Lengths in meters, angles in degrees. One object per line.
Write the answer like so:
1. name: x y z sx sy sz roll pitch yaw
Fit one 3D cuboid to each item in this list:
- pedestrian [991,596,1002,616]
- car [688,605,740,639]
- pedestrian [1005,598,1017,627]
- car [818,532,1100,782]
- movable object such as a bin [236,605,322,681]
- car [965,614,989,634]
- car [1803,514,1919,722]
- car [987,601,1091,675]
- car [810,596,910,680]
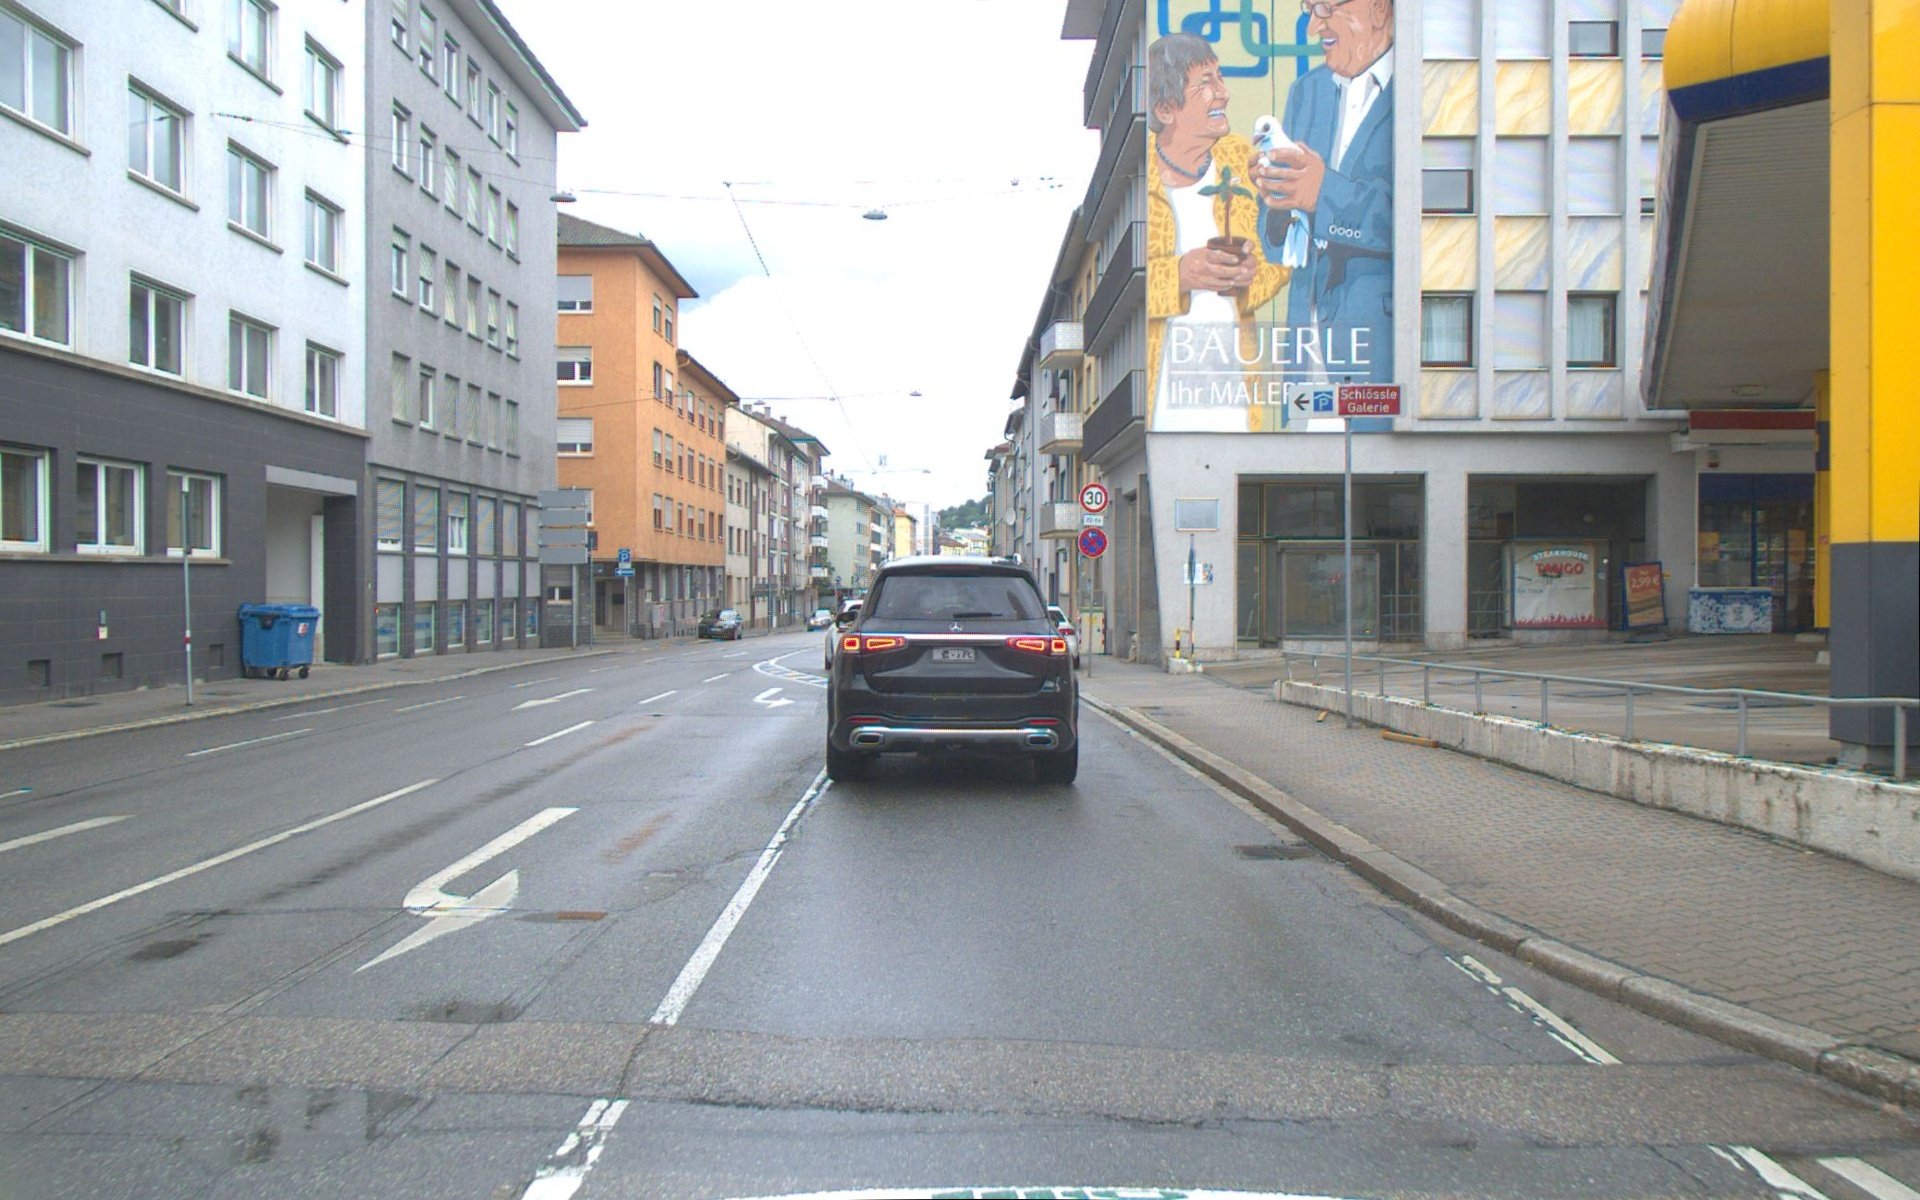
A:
1. pedestrian: 2.929 0.482 132.325 0.804 1.592 0.900 1 0 2
2. car: -11.405 0.988 76.974 1.853 1.484 4.547 1 0 -2
3. pedestrian: 3.149 0.778 102.156 0.642 1.782 0.742 -2 0 4
4. car: -0.035 0.407 14.450 2.034 1.796 4.610 1 0 -1
5. movable object such as a bin: -12.546 0.780 30.512 1.054 1.347 1.190 1 0 -1
6. car: 1.304 1.862 127.872 1.699 1.412 4.581 1 0 -2
7. car: 8.223 0.066 11.418 3.930 1.467 1.735 -3 -1 43
8. car: 1.762 0.821 38.347 1.856 1.426 4.606 -5 0 -3
9. car: -2.021 0.734 33.804 1.855 1.537 4.171 2 0 -3
